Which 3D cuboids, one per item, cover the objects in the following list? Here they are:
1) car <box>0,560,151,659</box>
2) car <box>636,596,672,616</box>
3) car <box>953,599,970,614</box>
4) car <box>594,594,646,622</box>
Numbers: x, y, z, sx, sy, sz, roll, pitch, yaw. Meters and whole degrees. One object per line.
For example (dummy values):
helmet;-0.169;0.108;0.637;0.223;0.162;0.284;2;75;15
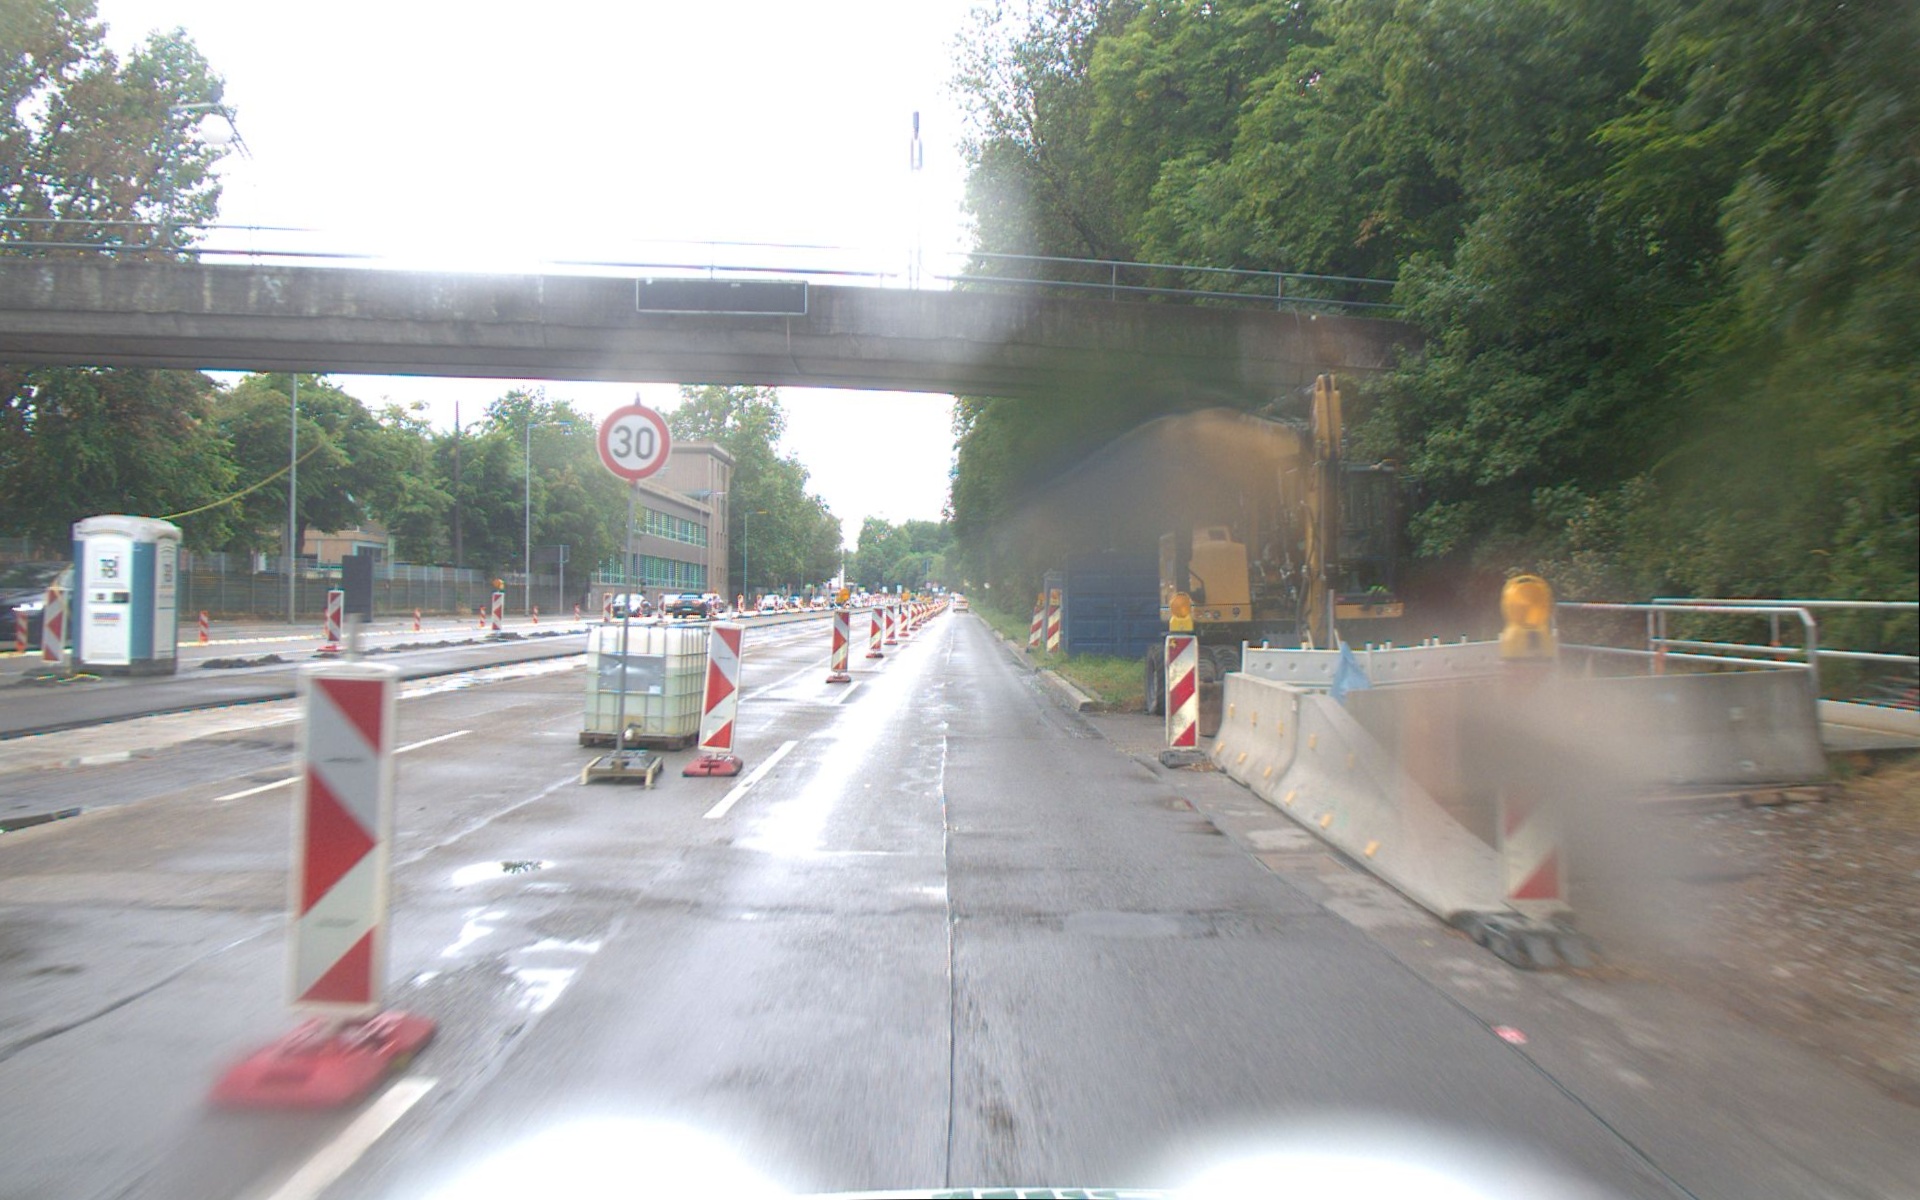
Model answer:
car;-18.311;0.189;33.084;1.930;1.837;4.607;0;0;0
car;-22.582;0.471;122.331;1.931;1.467;3.999;0;0;-1
car;0.159;0.712;189.078;1.953;1.669;3.999;0;0;-1
car;-18.510;0.454;90.191;1.930;1.467;4.000;0;0;0
